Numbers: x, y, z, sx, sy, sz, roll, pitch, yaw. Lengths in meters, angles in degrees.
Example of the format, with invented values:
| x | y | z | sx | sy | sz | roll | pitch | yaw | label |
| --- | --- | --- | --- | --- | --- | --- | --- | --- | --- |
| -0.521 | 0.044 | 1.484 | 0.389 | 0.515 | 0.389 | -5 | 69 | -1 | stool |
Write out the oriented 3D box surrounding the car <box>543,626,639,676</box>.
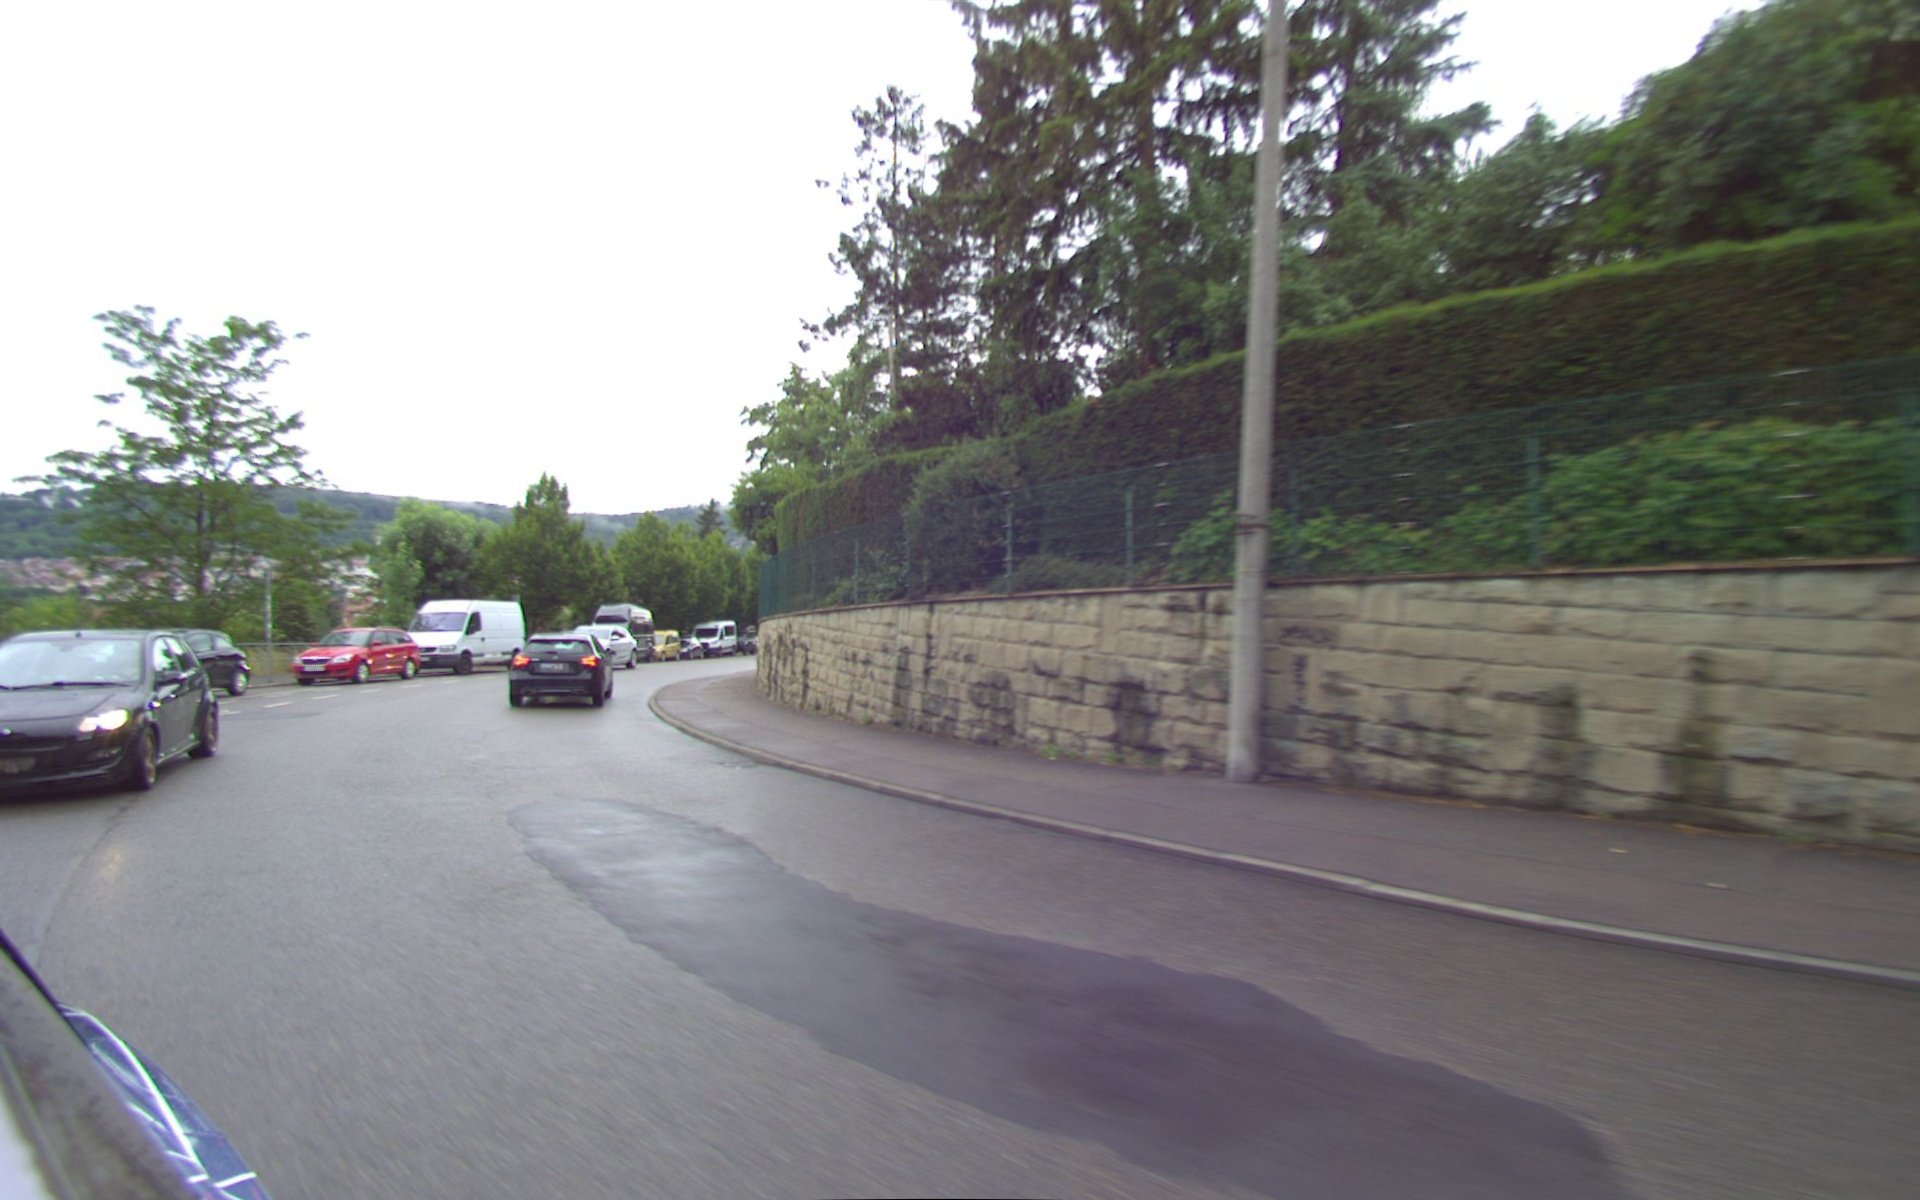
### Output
| x | y | z | sx | sy | sz | roll | pitch | yaw | label |
| --- | --- | --- | --- | --- | --- | --- | --- | --- | --- |
| -13.453 | 1.808 | 37.211 | 2.159 | 1.721 | 4.888 | 0 | -1 | -5 | car |

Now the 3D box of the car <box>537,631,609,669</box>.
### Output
| x | y | z | sx | sy | sz | roll | pitch | yaw | label |
| --- | --- | --- | --- | --- | --- | --- | --- | --- | --- |
| -16.732 | 2.166 | 43.941 | 1.664 | 1.552 | 3.832 | 0 | -3 | 0 | car |

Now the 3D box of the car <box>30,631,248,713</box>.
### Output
| x | y | z | sx | sy | sz | roll | pitch | yaw | label |
| --- | --- | --- | --- | --- | --- | --- | --- | --- | --- |
| -16.407 | 1.390 | 20.493 | 1.673 | 1.455 | 3.954 | -1 | -2 | -9 | car |

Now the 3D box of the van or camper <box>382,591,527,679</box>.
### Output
| x | y | z | sx | sy | sz | roll | pitch | yaw | label |
| --- | --- | --- | --- | --- | --- | --- | --- | --- | --- |
| -16.692 | 1.189 | 33.850 | 2.051 | 2.681 | 5.594 | -1 | -3 | 0 | van or camper |

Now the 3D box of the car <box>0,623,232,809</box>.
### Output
| x | y | z | sx | sy | sz | roll | pitch | yaw | label |
| --- | --- | --- | --- | --- | --- | --- | --- | --- | --- |
| -8.807 | 0.999 | 10.088 | 1.754 | 1.497 | 4.419 | 1 | -2 | -26 | car |

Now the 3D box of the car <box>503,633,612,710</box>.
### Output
| x | y | z | sx | sy | sz | roll | pitch | yaw | label |
| --- | --- | --- | --- | --- | --- | --- | --- | --- | --- |
| -8.320 | 1.428 | 21.218 | 1.762 | 1.445 | 4.127 | 1 | -2 | -17 | car |

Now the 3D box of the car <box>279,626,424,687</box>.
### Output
| x | y | z | sx | sy | sz | roll | pitch | yaw | label |
| --- | --- | --- | --- | --- | --- | --- | --- | --- | --- |
| -16.670 | 1.533 | 27.964 | 1.602 | 1.552 | 4.217 | 0 | -2 | -2 | car |

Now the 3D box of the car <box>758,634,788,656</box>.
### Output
| x | y | z | sx | sy | sz | roll | pitch | yaw | label |
| --- | --- | --- | --- | --- | --- | --- | --- | --- | --- |
| -16.549 | 4.002 | 89.619 | 1.702 | 1.869 | 4.400 | -2 | -3 | 1 | car |

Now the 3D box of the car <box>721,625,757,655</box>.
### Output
| x | y | z | sx | sy | sz | roll | pitch | yaw | label |
| --- | --- | --- | --- | --- | --- | --- | --- | --- | --- |
| -16.750 | 3.034 | 76.959 | 1.702 | 2.155 | 4.400 | -2 | -3 | 1 | car |

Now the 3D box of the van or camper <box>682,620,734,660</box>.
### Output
| x | y | z | sx | sy | sz | roll | pitch | yaw | label |
| --- | --- | --- | --- | --- | --- | --- | --- | --- | --- |
| -17.025 | 2.718 | 68.705 | 2.141 | 2.575 | 5.615 | -2 | -3 | 0 | van or camper |

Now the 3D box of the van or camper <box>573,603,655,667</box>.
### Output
| x | y | z | sx | sy | sz | roll | pitch | yaw | label |
| --- | --- | --- | --- | --- | --- | --- | --- | --- | --- |
| -16.882 | 1.733 | 49.715 | 2.101 | 2.932 | 5.726 | -1 | -3 | 0 | van or camper |

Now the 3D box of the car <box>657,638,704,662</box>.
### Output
| x | y | z | sx | sy | sz | roll | pitch | yaw | label |
| --- | --- | --- | --- | --- | --- | --- | --- | --- | --- |
| -17.096 | 3.051 | 62.067 | 1.701 | 1.385 | 4.403 | -2 | -3 | -1 | car |

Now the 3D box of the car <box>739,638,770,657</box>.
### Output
| x | y | z | sx | sy | sz | roll | pitch | yaw | label |
| --- | --- | --- | --- | --- | --- | --- | --- | --- | --- |
| -17.138 | 3.955 | 84.590 | 1.702 | 1.446 | 4.323 | -2 | -3 | 1 | car |

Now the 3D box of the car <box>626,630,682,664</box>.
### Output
| x | y | z | sx | sy | sz | roll | pitch | yaw | label |
| --- | --- | --- | --- | --- | --- | --- | --- | --- | --- |
| -16.962 | 2.598 | 56.273 | 1.702 | 1.762 | 4.400 | -2 | -3 | 1 | car |
